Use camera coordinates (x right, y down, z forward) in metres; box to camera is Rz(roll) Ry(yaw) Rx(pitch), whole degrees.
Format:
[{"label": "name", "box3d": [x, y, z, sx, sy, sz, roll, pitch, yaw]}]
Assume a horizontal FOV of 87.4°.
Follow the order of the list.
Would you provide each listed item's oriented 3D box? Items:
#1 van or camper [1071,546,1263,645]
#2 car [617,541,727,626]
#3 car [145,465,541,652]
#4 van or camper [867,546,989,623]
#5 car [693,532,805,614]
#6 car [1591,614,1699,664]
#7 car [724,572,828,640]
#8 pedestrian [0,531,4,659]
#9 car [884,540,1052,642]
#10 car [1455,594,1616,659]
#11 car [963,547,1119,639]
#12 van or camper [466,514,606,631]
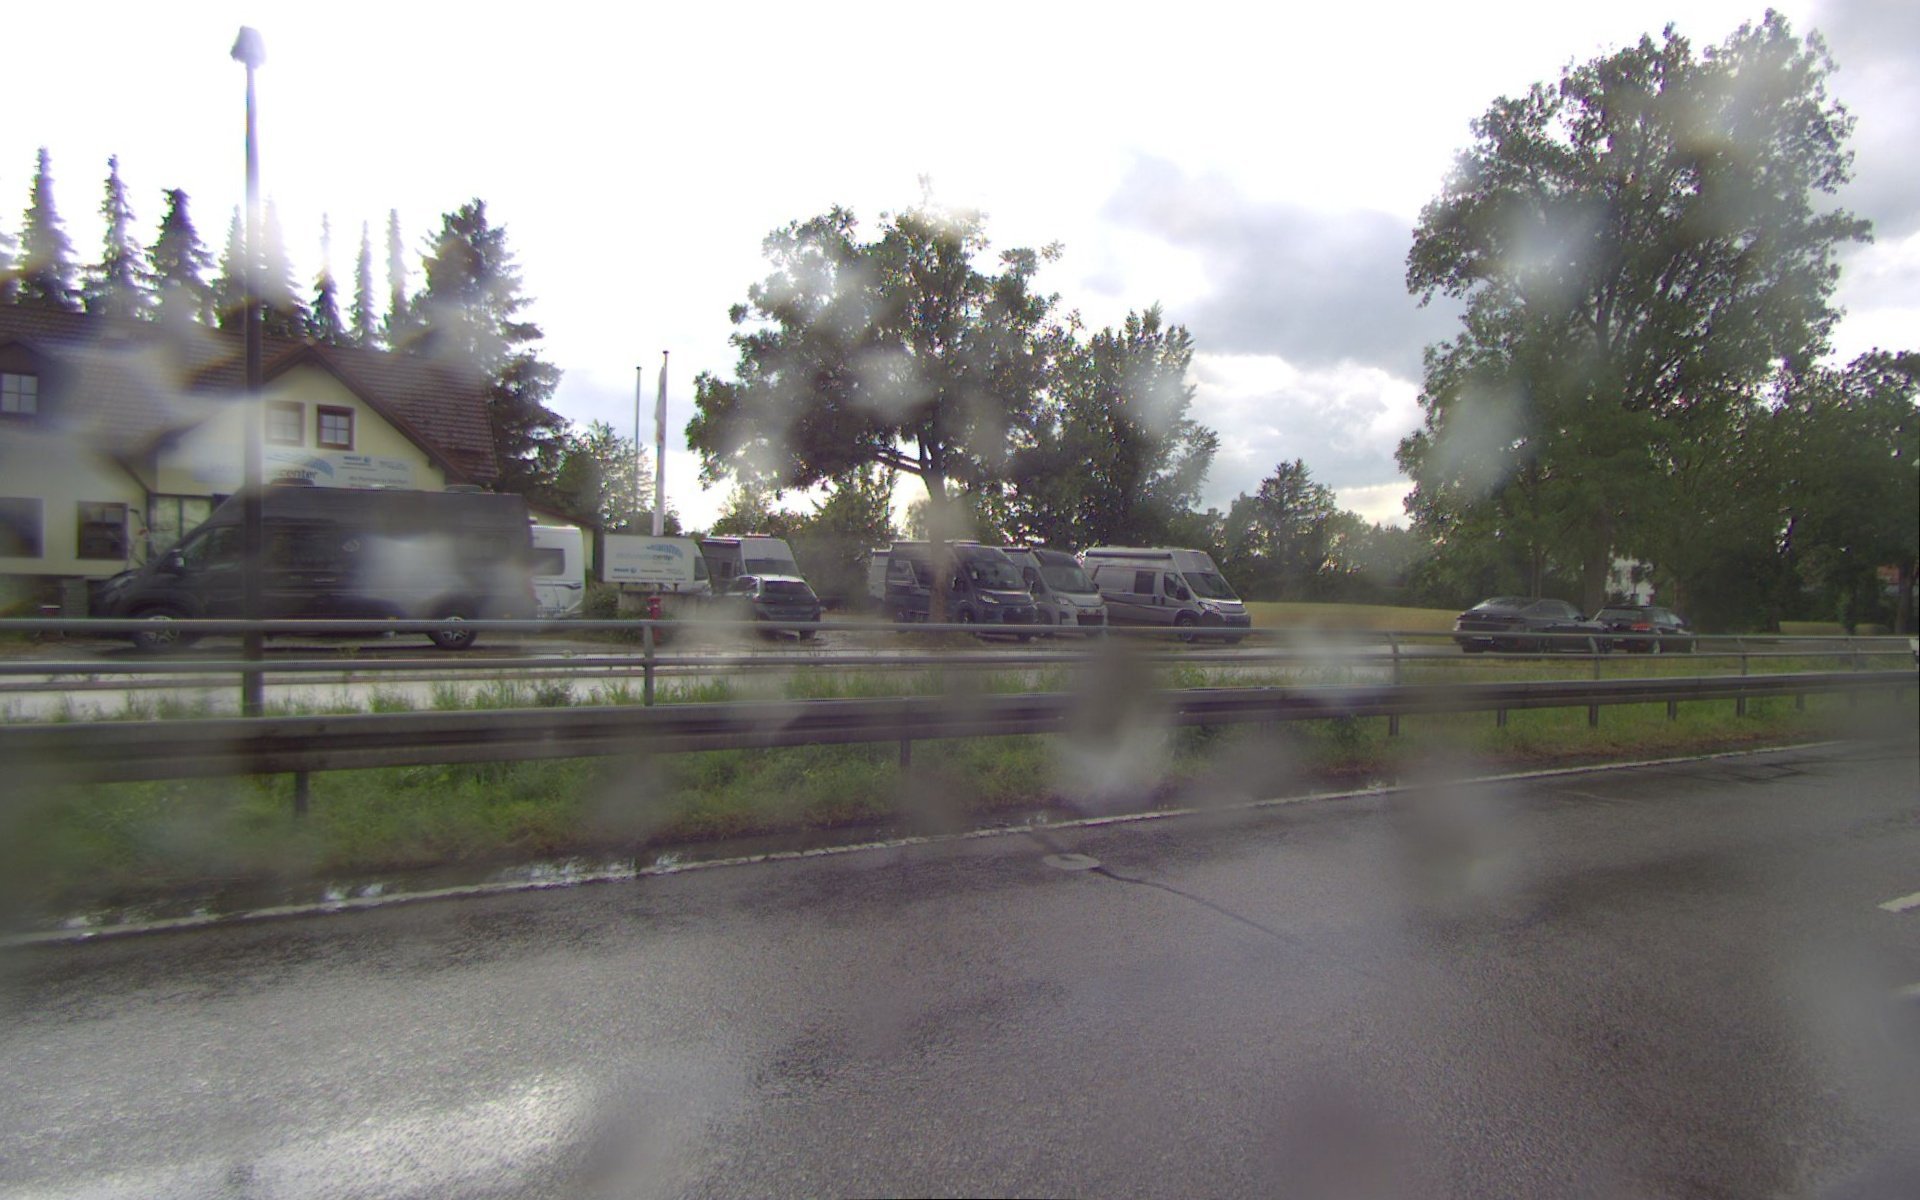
[{"label": "van or camper", "box3d": [6.112, -0.209, 30.466, 2.061, 2.713, 5.835, 1, 2, -35]}, {"label": "car", "box3d": [-9.358, -0.570, 32.233, 2.066, 2.449, 6.064, 1, 1, -29]}, {"label": "car", "box3d": [-10.455, -0.614, 17.500, 5.511, 2.800, 2.370, 1, 2, -32]}, {"label": "van or camper", "box3d": [-1.310, -0.639, 37.501, 1.977, 2.625, 5.775, 1, 2, -30]}, {"label": "car", "box3d": [-7.460, -0.946, 34.861, 2.066, 2.573, 6.064, 1, 1, -29]}, {"label": "car", "box3d": [20.100, 1.120, 29.421, 3.858, 1.349, 1.274, 1, 1, -34]}, {"label": "car", "box3d": [-4.720, 0.109, 25.398, 1.521, 1.516, 3.868, 1, 2, -27]}, {"label": "pedestrian", "box3d": [-13.296, -0.067, 13.394, 0.640, 1.733, 0.514, 1, 2, -21]}, {"label": "car", "box3d": [0.088, -0.300, 27.507, 1.979, 2.535, 5.149, 1, 2, -34]}, {"label": "car", "box3d": [14.855, 0.663, 25.830, 5.069, 1.511, 1.505, 1, 2, -34]}, {"label": "car", "box3d": [2.286, -0.262, 29.945, 1.978, 2.492, 5.064, 1, 2, -32]}, {"label": "van or camper", "box3d": [-11.122, -0.710, 26.031, 2.532, 2.626, 6.191, 1, 2, -30]}]
